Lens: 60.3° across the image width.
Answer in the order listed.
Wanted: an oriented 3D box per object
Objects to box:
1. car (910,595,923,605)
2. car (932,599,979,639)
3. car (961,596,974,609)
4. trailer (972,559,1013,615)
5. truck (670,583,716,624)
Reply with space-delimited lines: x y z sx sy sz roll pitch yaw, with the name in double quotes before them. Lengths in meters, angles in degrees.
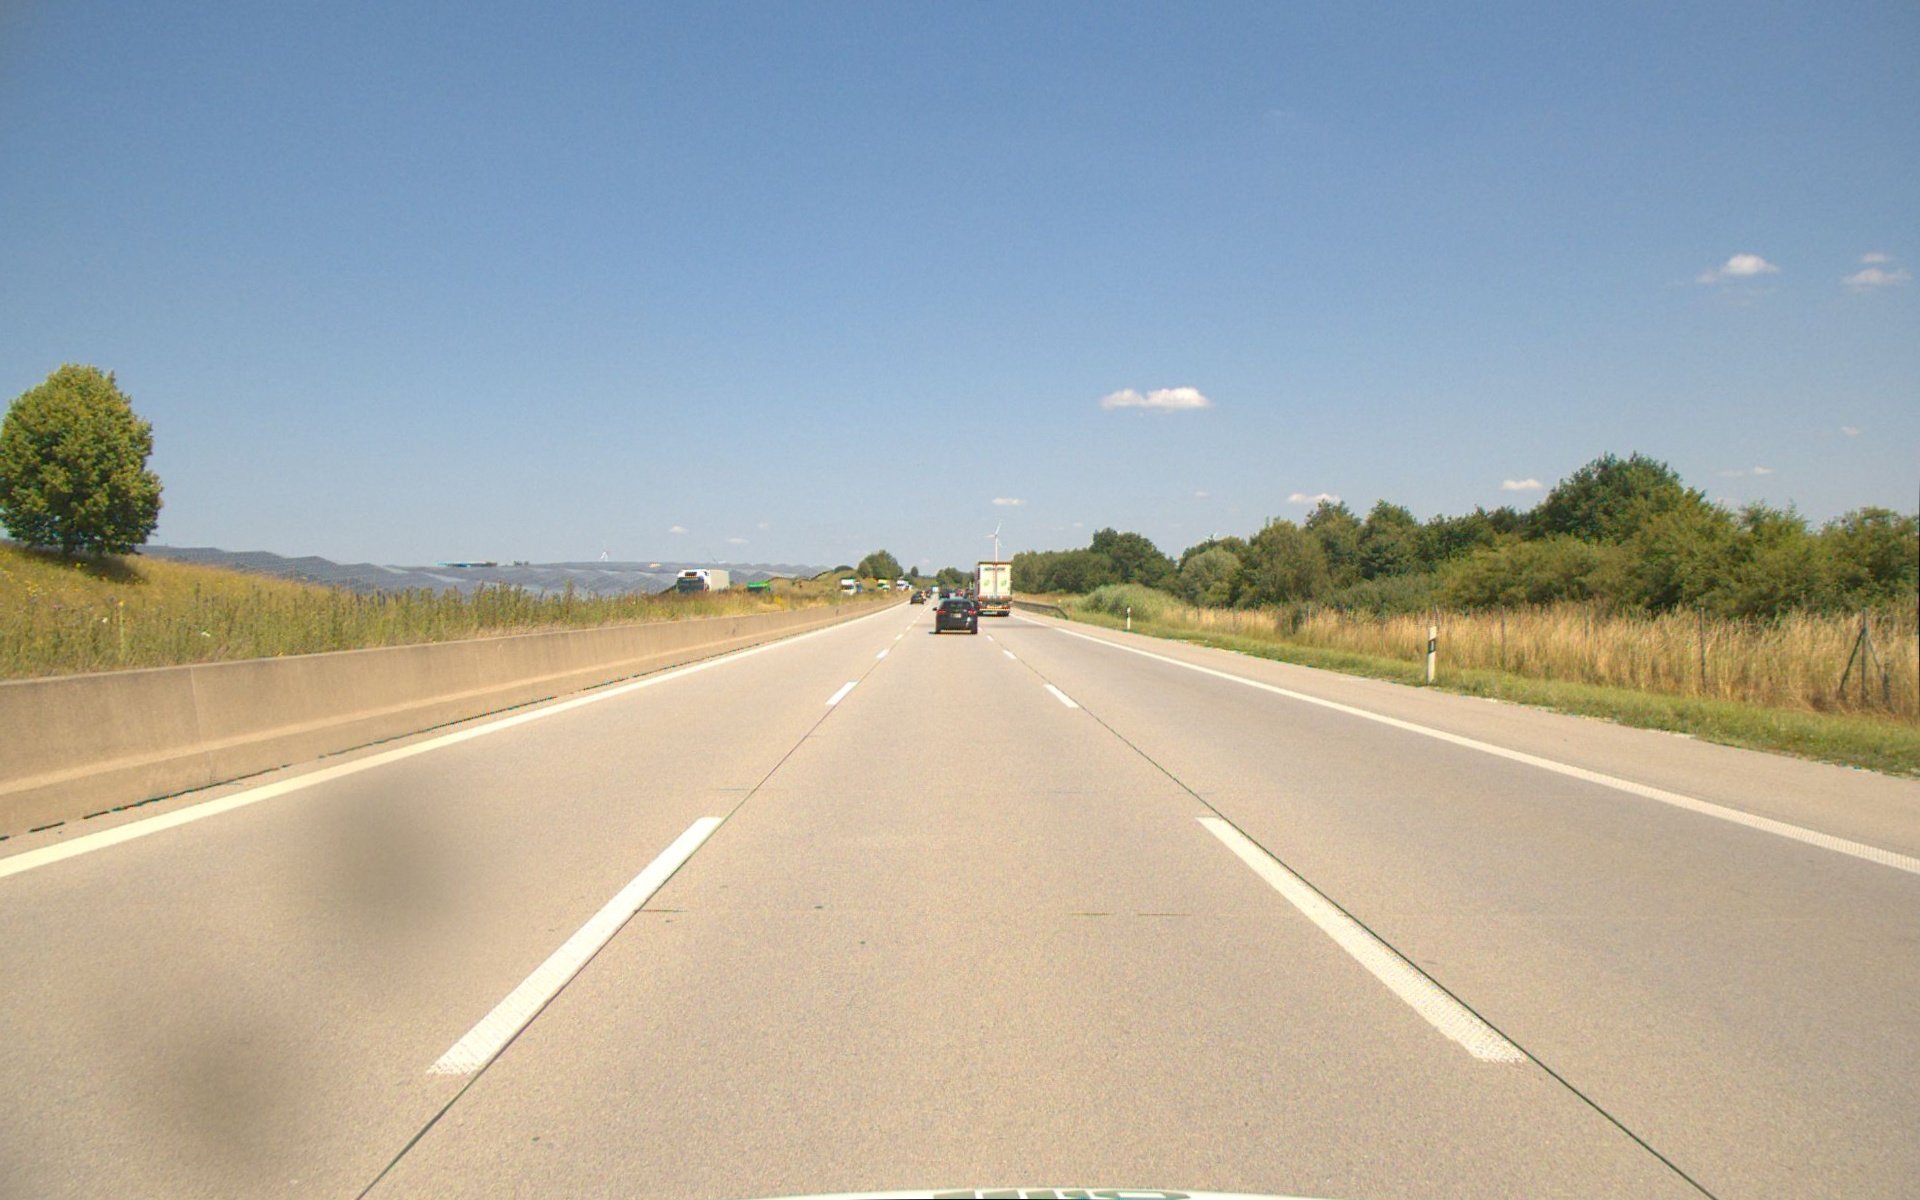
"car" -5.801 0.006 221.189 1.622 1.217 3.959 3 0 -1
"car" -0.232 0.772 69.422 1.871 1.518 4.191 1 0 -1
"car" 1.102 0.343 246.196 1.789 1.940 4.001 1 0 2
"trailer" 2.473 -0.996 130.229 2.794 4.113 12.711 1 0 0
"truck" -21.466 0.306 133.341 2.775 3.213 5.825 -1 0 -1
